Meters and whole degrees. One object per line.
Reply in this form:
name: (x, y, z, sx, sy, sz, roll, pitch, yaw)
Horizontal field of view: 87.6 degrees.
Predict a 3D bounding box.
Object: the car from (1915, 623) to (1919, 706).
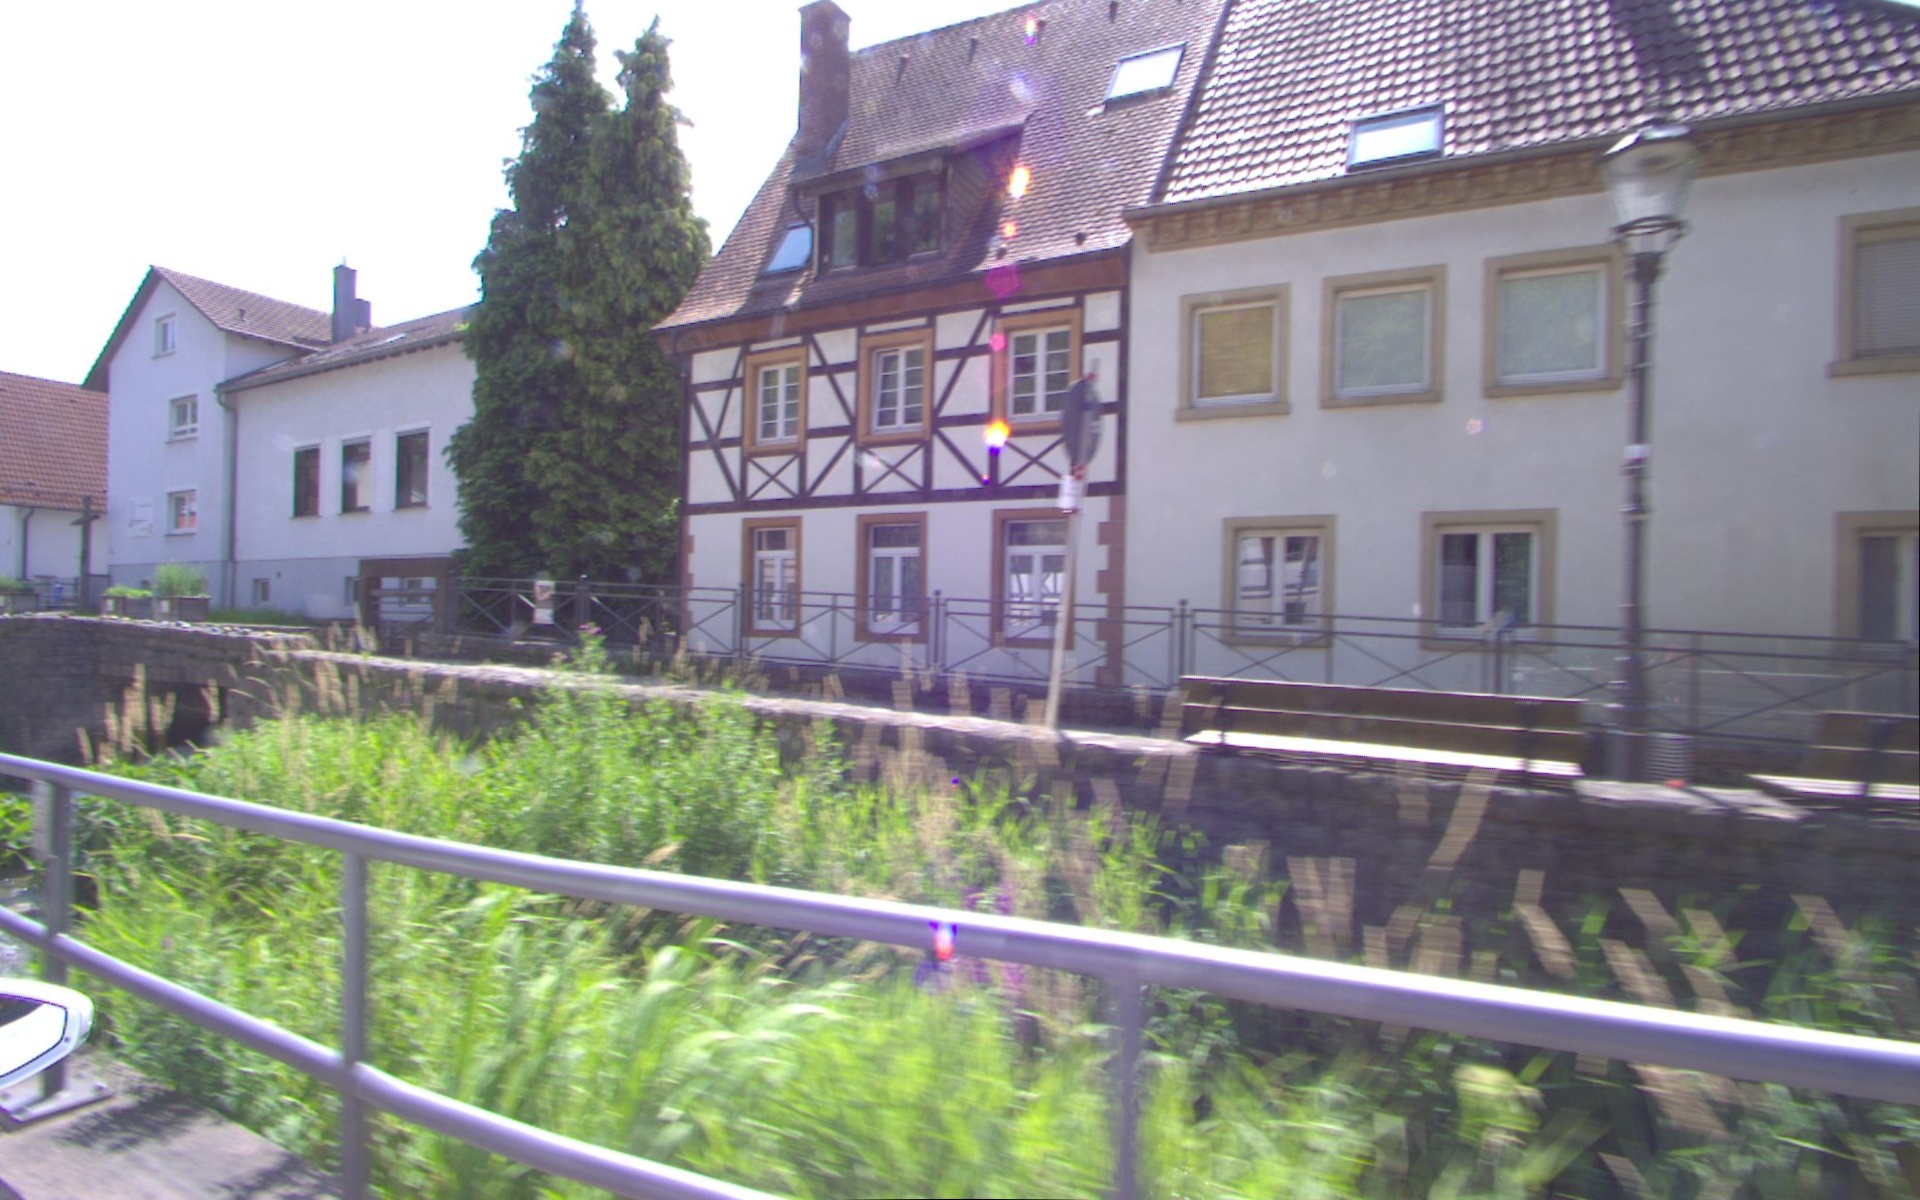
car: (25.721, 1.686, 23.108, 5.057, 2.054, 1.946, 3, 1, 38)
